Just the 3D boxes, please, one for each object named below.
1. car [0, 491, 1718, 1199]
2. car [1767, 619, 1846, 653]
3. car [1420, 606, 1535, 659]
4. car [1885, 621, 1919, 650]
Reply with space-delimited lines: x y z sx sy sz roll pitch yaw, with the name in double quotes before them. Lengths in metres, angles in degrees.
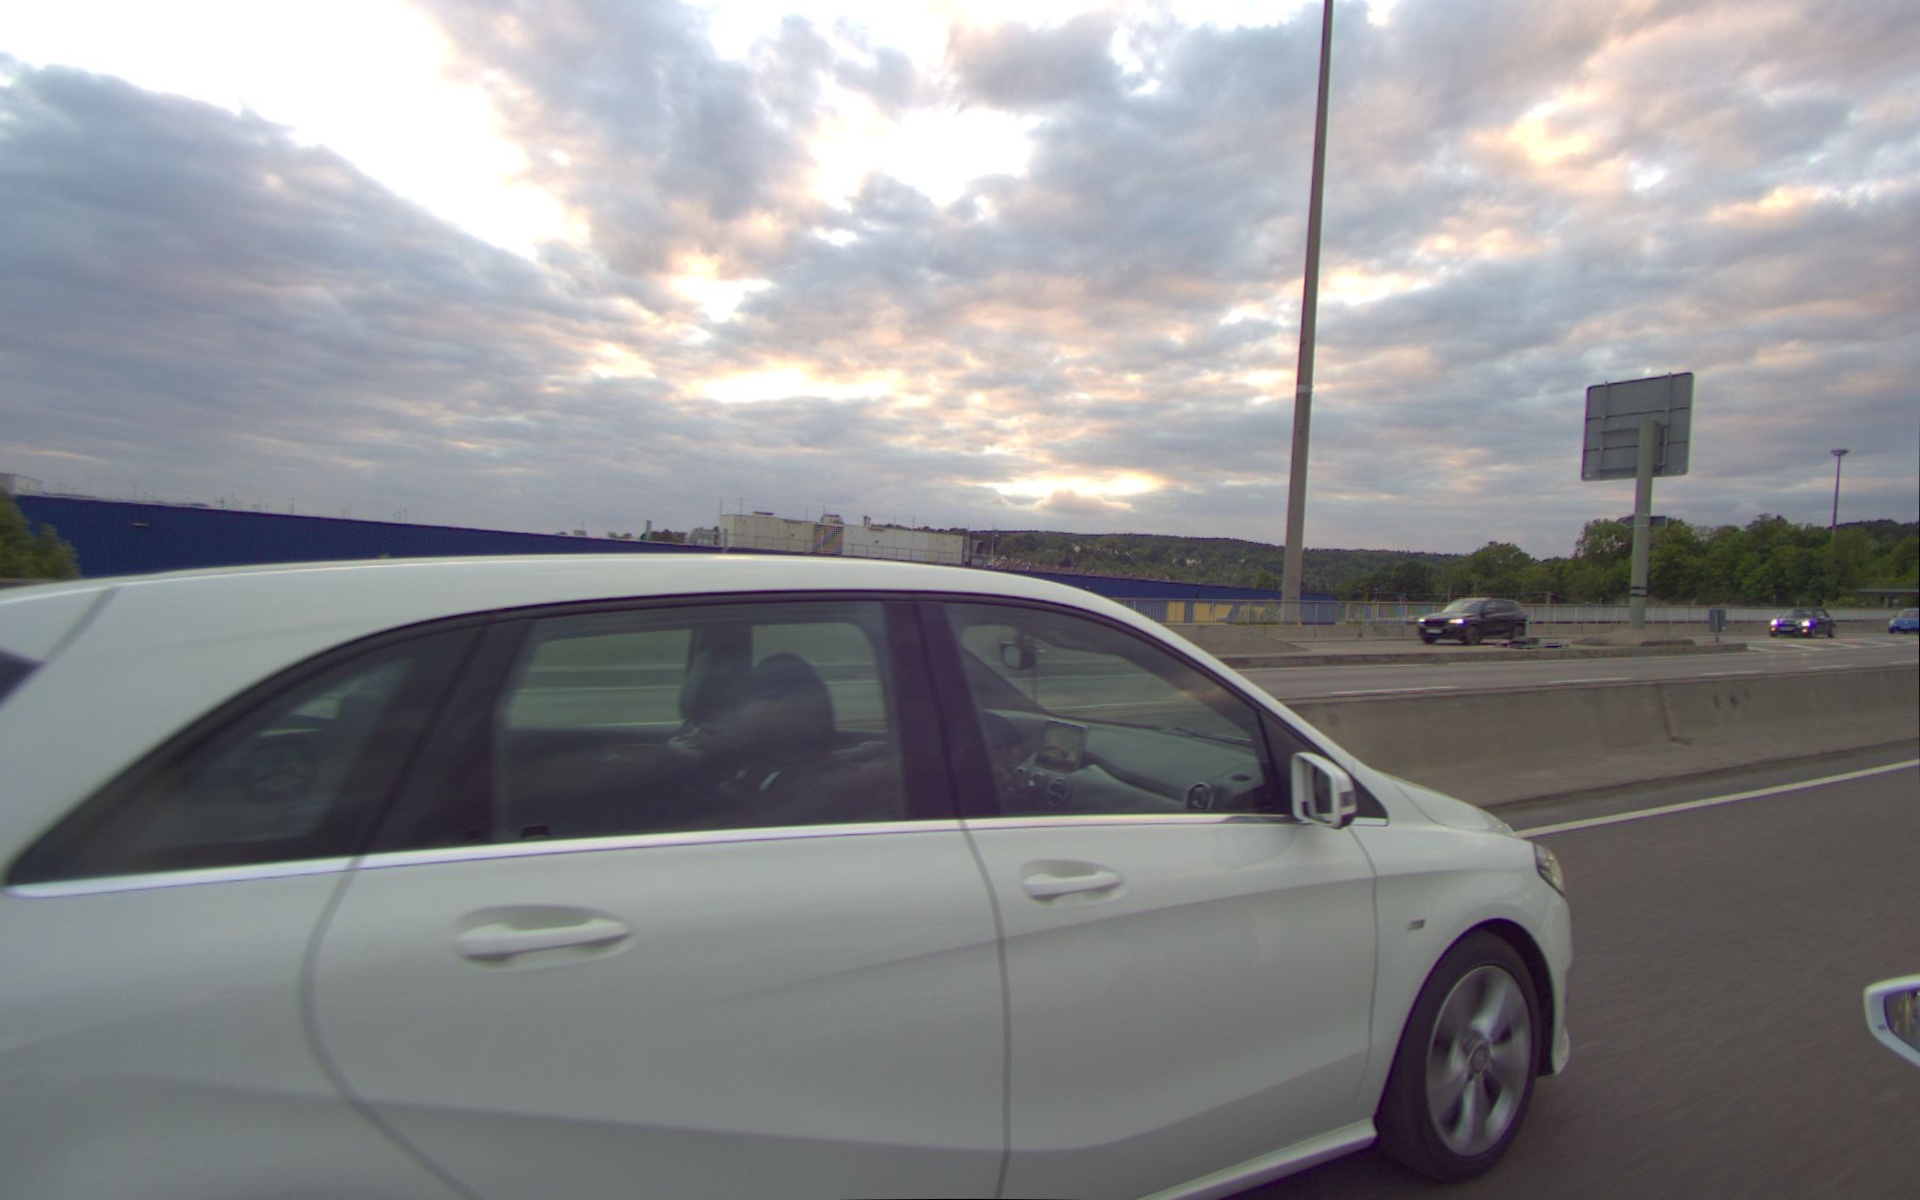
"car" -0.073 0.700 2.624 4.730 1.557 1.682 2 0 -32
"car" 41.224 1.760 48.904 3.798 1.506 1.787 3 0 -31
"car" 18.341 1.149 35.561 3.950 1.740 1.629 2 1 -28
"car" 56.369 2.053 59.099 4.118 1.617 1.886 1 1 -33
